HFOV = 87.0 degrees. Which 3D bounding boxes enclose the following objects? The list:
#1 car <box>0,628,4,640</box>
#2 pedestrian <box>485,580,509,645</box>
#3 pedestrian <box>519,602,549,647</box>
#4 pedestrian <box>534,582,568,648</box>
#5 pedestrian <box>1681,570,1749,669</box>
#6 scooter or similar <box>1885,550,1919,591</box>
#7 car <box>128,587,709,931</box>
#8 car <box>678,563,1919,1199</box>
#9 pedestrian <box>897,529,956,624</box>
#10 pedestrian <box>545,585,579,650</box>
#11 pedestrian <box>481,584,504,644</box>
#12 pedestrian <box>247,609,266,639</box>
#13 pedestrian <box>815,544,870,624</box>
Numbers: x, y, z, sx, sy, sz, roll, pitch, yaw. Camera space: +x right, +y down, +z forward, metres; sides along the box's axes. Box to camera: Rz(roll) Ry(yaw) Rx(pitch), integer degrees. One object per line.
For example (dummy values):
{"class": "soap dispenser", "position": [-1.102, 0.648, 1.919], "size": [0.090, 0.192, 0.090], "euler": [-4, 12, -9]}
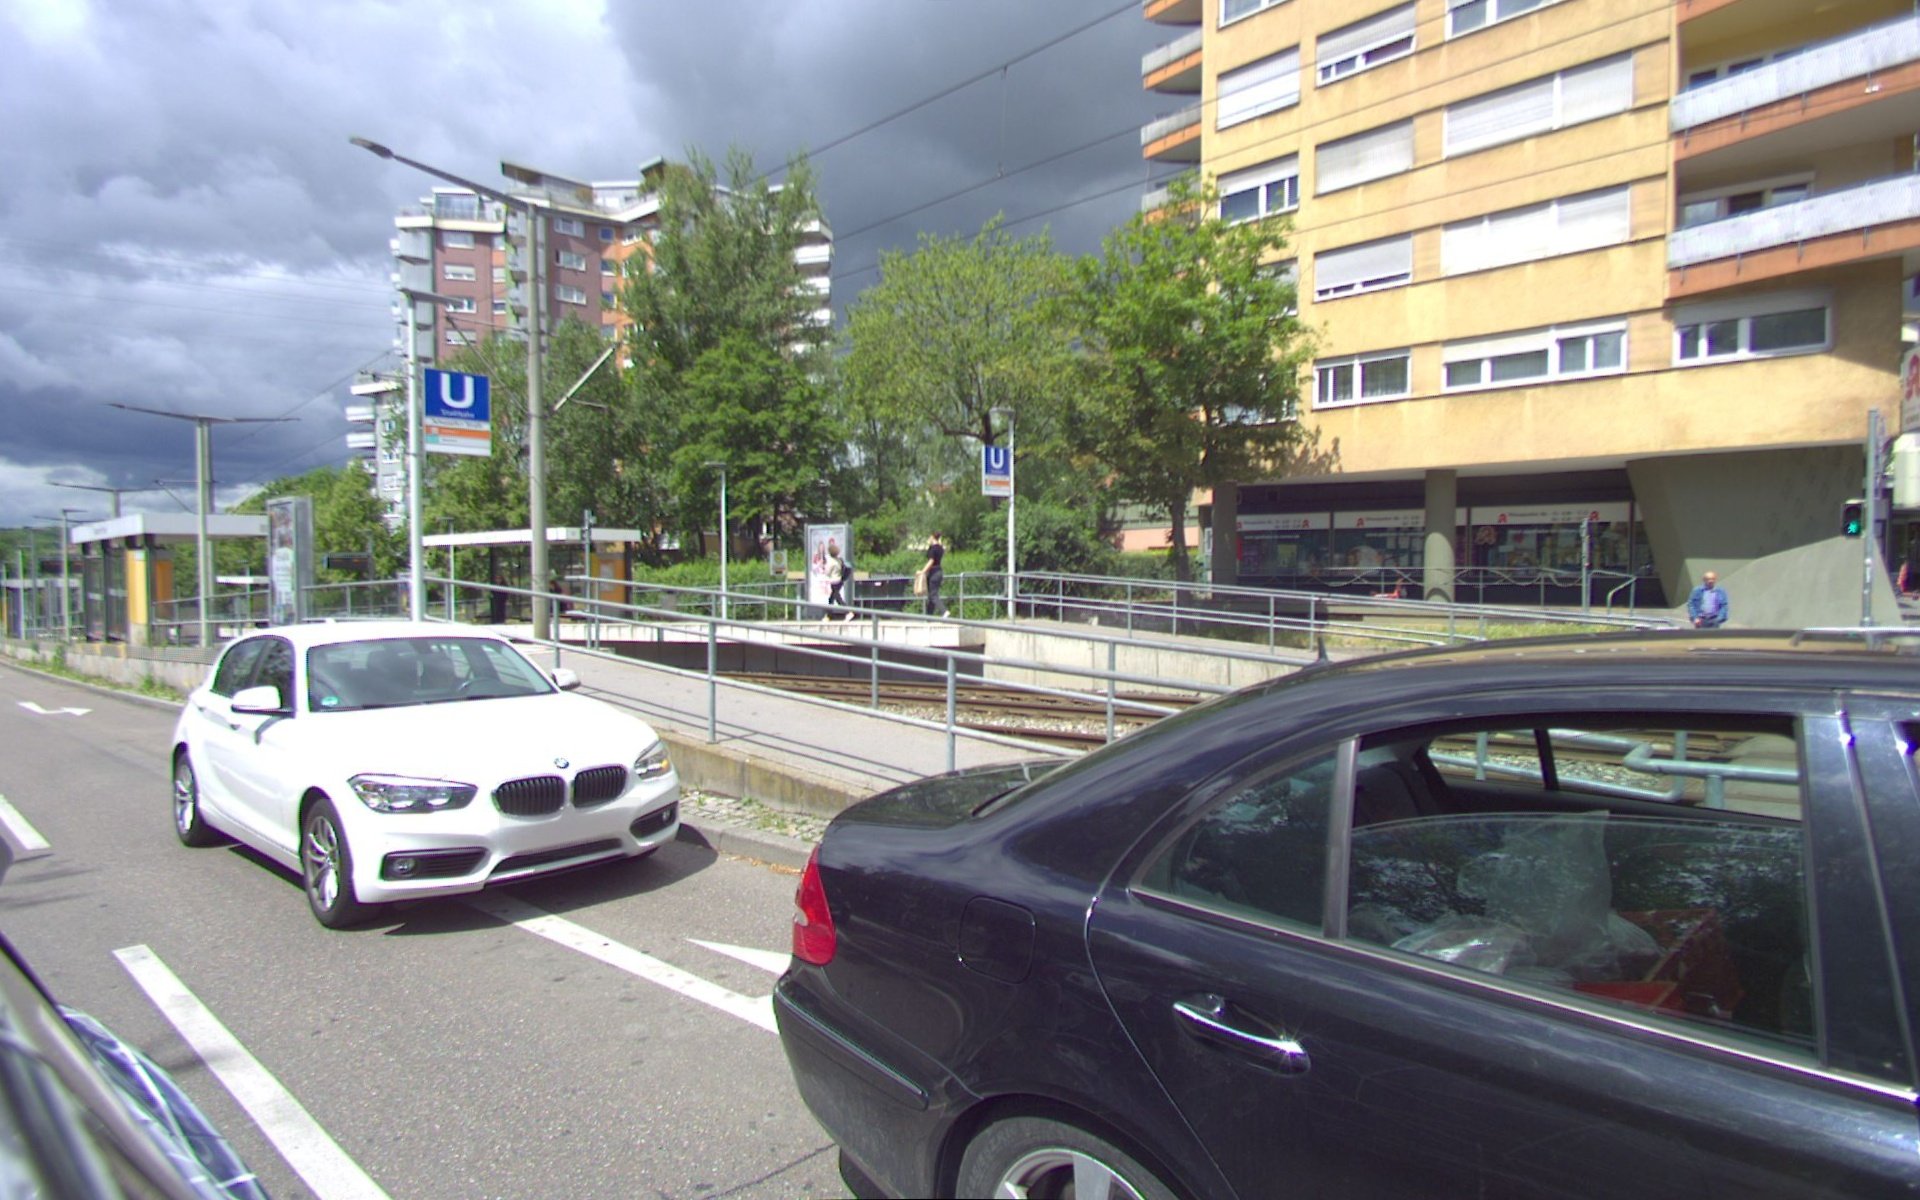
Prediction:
{"class": "car", "position": [-108.498, 3.812, 113.288], "size": [4.020, 1.224, 1.782], "euler": [-1, 0, 42]}
{"class": "pedestrian", "position": [-15.565, 0.415, 34.016], "size": [0.608, 2.157, 0.525], "euler": [-1, 0, 44]}
{"class": "pedestrian", "position": [-13.641, 0.772, 32.413], "size": [0.658, 1.425, 0.637], "euler": [-1, 0, 41]}
{"class": "pedestrian", "position": [-12.758, 0.466, 31.557], "size": [0.584, 2.029, 0.770], "euler": [-1, 0, 41]}
{"class": "pedestrian", "position": [12.987, 0.318, 17.427], "size": [0.909, 1.609, 0.712], "euler": [-1, 5, 37]}
{"class": "scooter or similar", "position": [26.369, -0.818, 28.308], "size": [0.544, 1.102, 1.731], "euler": [-1, 0, 36]}
{"class": "car", "position": [-3.607, 0.782, 6.389], "size": [4.272, 1.462, 1.771], "euler": [-3, -3, 40]}
{"class": "car", "position": [1.729, 0.659, 1.500], "size": [4.674, 1.409, 1.950], "euler": [-1, 0, 42]}
{"class": "pedestrian", "position": [-0.654, -0.433, 19.592], "size": [0.747, 1.787, 0.854], "euler": [-1, 0, 40]}
{"class": "pedestrian", "position": [-12.127, 0.513, 30.828], "size": [0.572, 1.946, 0.761], "euler": [-1, 0, 39]}
{"class": "pedestrian", "position": [-16.006, 0.464, 34.634], "size": [0.557, 2.029, 0.510], "euler": [-1, 0, 41]}
{"class": "pedestrian", "position": [-39.699, 1.347, 57.106], "size": [0.763, 1.718, 0.767], "euler": [-1, 0, -41]}
{"class": "pedestrian", "position": [-2.459, -0.325, 21.224], "size": [0.747, 1.618, 0.854], "euler": [-1, 0, 40]}
